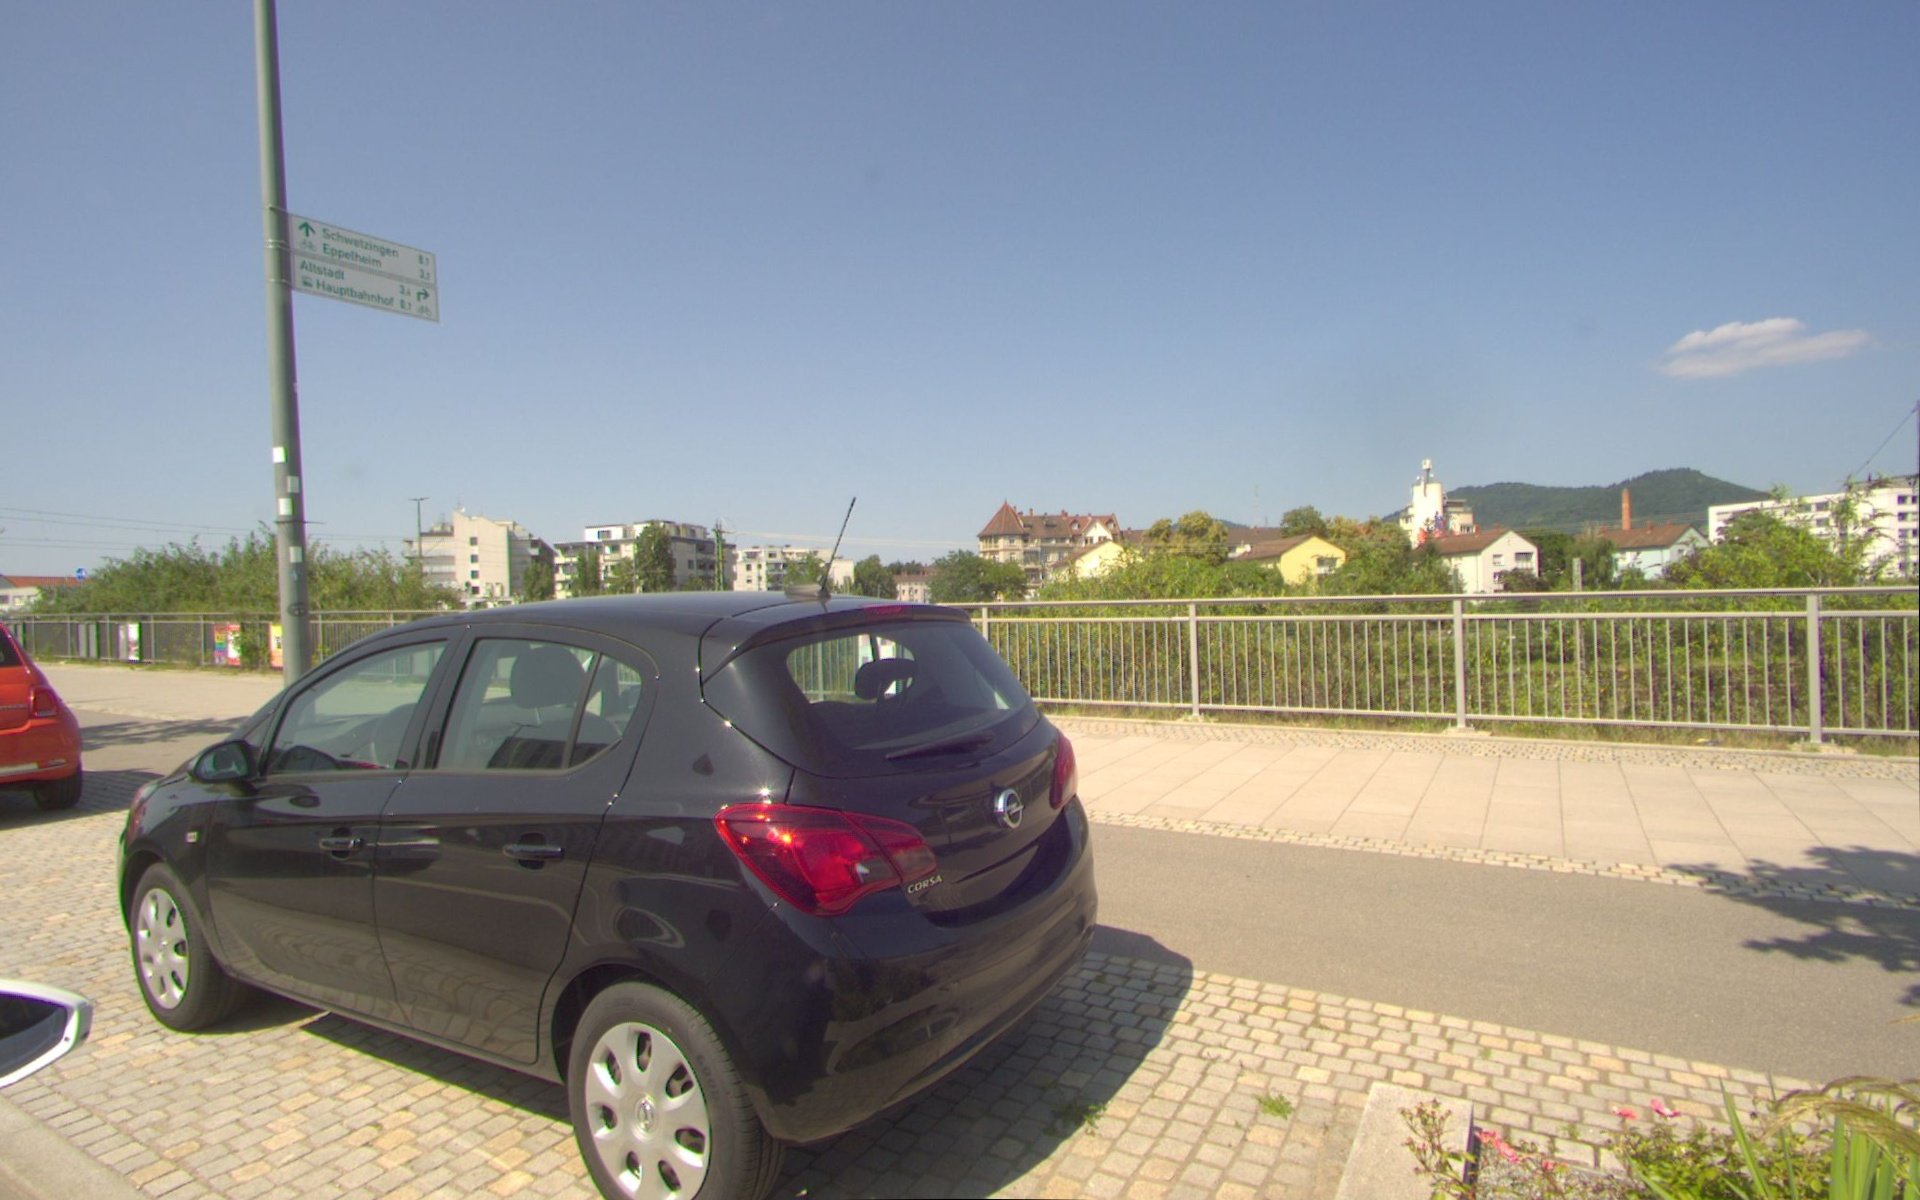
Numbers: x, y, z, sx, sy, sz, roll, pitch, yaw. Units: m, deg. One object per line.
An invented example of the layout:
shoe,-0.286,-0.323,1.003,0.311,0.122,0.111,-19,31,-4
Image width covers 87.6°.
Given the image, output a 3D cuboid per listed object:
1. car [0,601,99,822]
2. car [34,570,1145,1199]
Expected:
car,-8.171,0.804,7.602,3.305,1.517,1.605,-1,2,34
car,-1.512,0.694,3.617,3.943,1.446,1.656,-1,2,32
